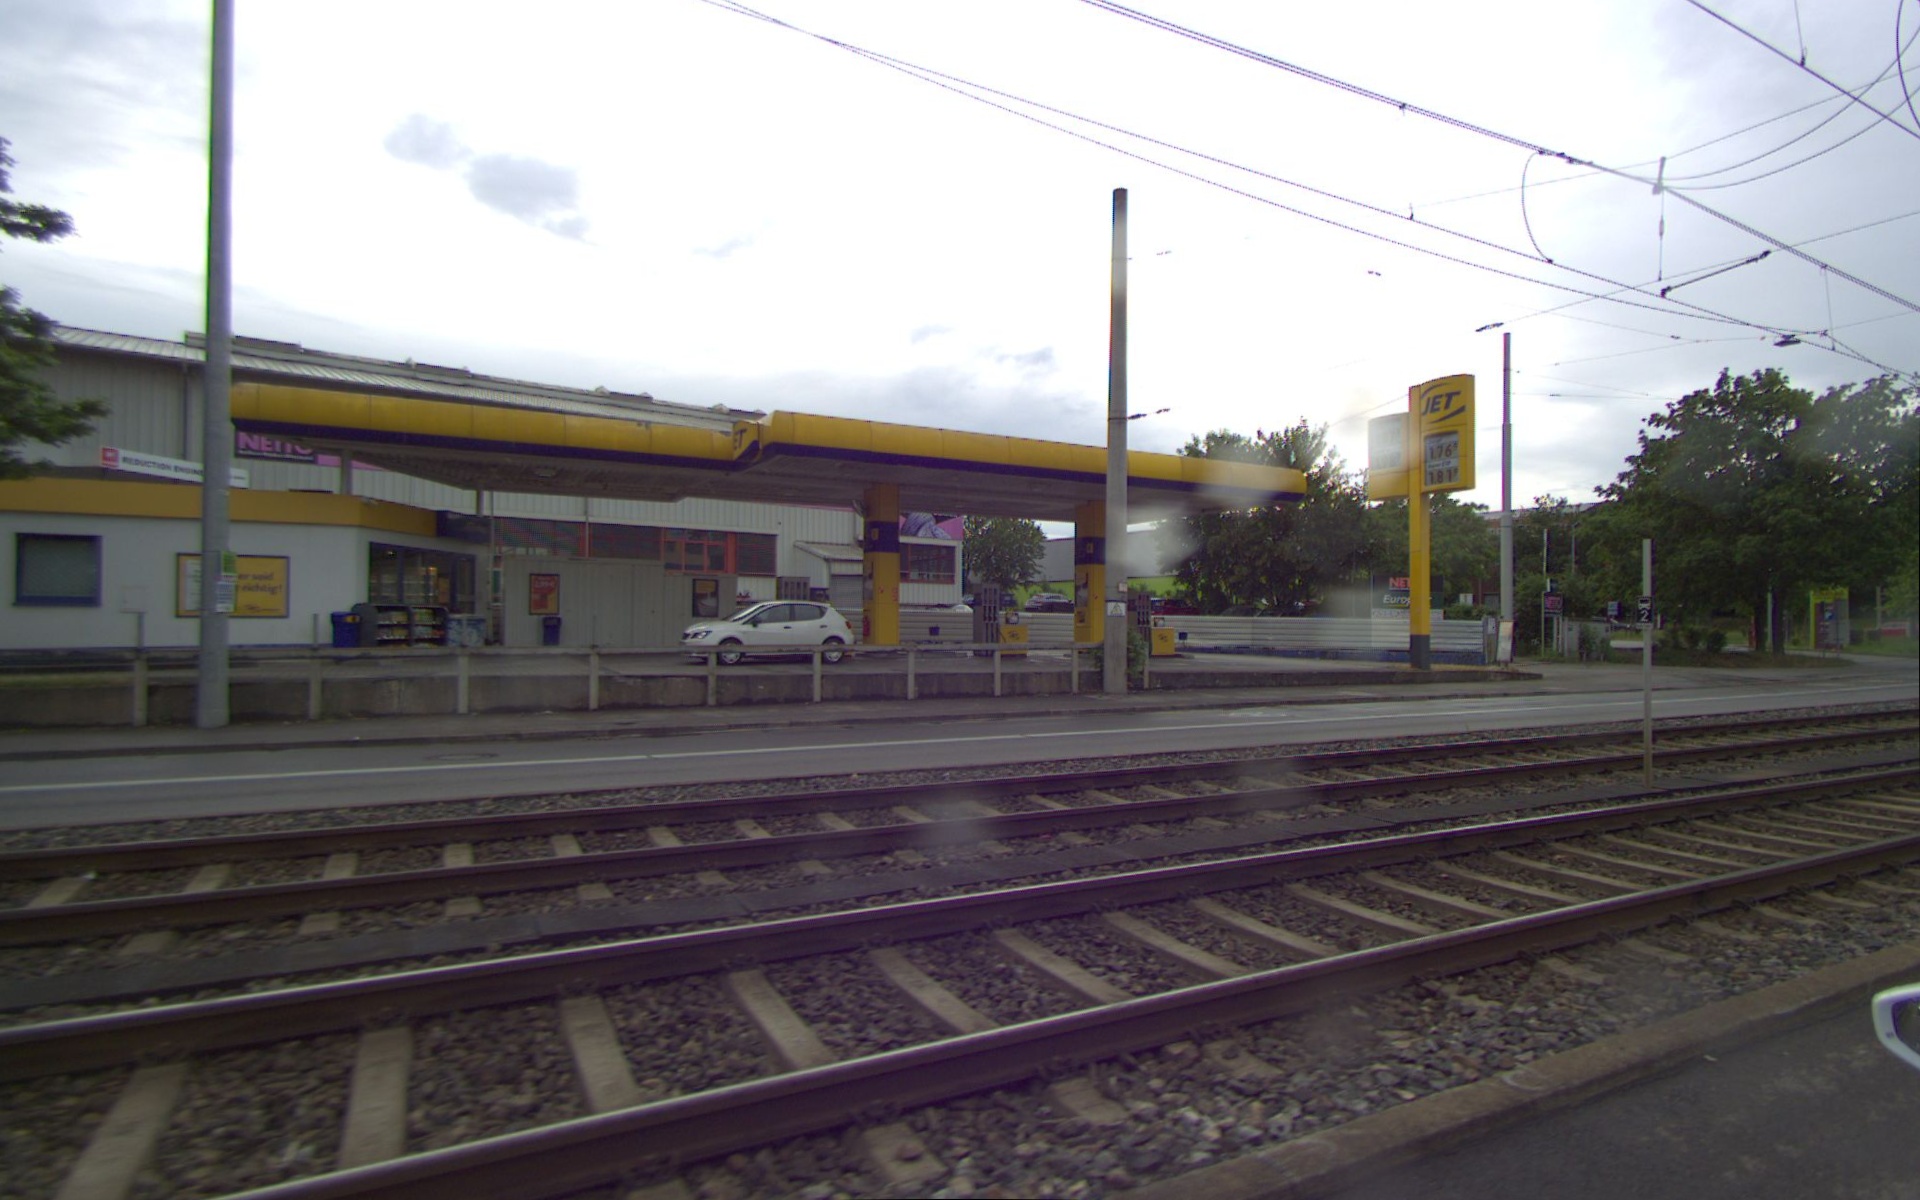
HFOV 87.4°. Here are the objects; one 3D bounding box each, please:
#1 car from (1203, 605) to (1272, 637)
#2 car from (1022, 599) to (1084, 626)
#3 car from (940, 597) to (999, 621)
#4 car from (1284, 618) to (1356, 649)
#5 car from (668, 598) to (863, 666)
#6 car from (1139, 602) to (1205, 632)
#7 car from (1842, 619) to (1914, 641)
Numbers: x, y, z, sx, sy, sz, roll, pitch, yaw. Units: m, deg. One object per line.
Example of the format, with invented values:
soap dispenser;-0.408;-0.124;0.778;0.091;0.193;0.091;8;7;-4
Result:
car;15.741;1.189;56.956;3.964;1.673;1.673;3;-1;-38
car;6.232;0.860;67.085;3.964;1.639;1.673;3;-1;-38
car;0.716;0.663;73.016;3.965;1.633;1.851;3;-1;-38
car;18.997;1.763;52.929;3.964;1.476;1.673;3;-1;-38
car;-4.434;0.731;23.080;4.030;1.434;1.761;2;0;-32
car;12.609;1.030;59.629;3.964;1.639;1.673;3;-1;-38
car;71.594;2.309;78.384;1.827;1.554;3.934;1;0;-38
